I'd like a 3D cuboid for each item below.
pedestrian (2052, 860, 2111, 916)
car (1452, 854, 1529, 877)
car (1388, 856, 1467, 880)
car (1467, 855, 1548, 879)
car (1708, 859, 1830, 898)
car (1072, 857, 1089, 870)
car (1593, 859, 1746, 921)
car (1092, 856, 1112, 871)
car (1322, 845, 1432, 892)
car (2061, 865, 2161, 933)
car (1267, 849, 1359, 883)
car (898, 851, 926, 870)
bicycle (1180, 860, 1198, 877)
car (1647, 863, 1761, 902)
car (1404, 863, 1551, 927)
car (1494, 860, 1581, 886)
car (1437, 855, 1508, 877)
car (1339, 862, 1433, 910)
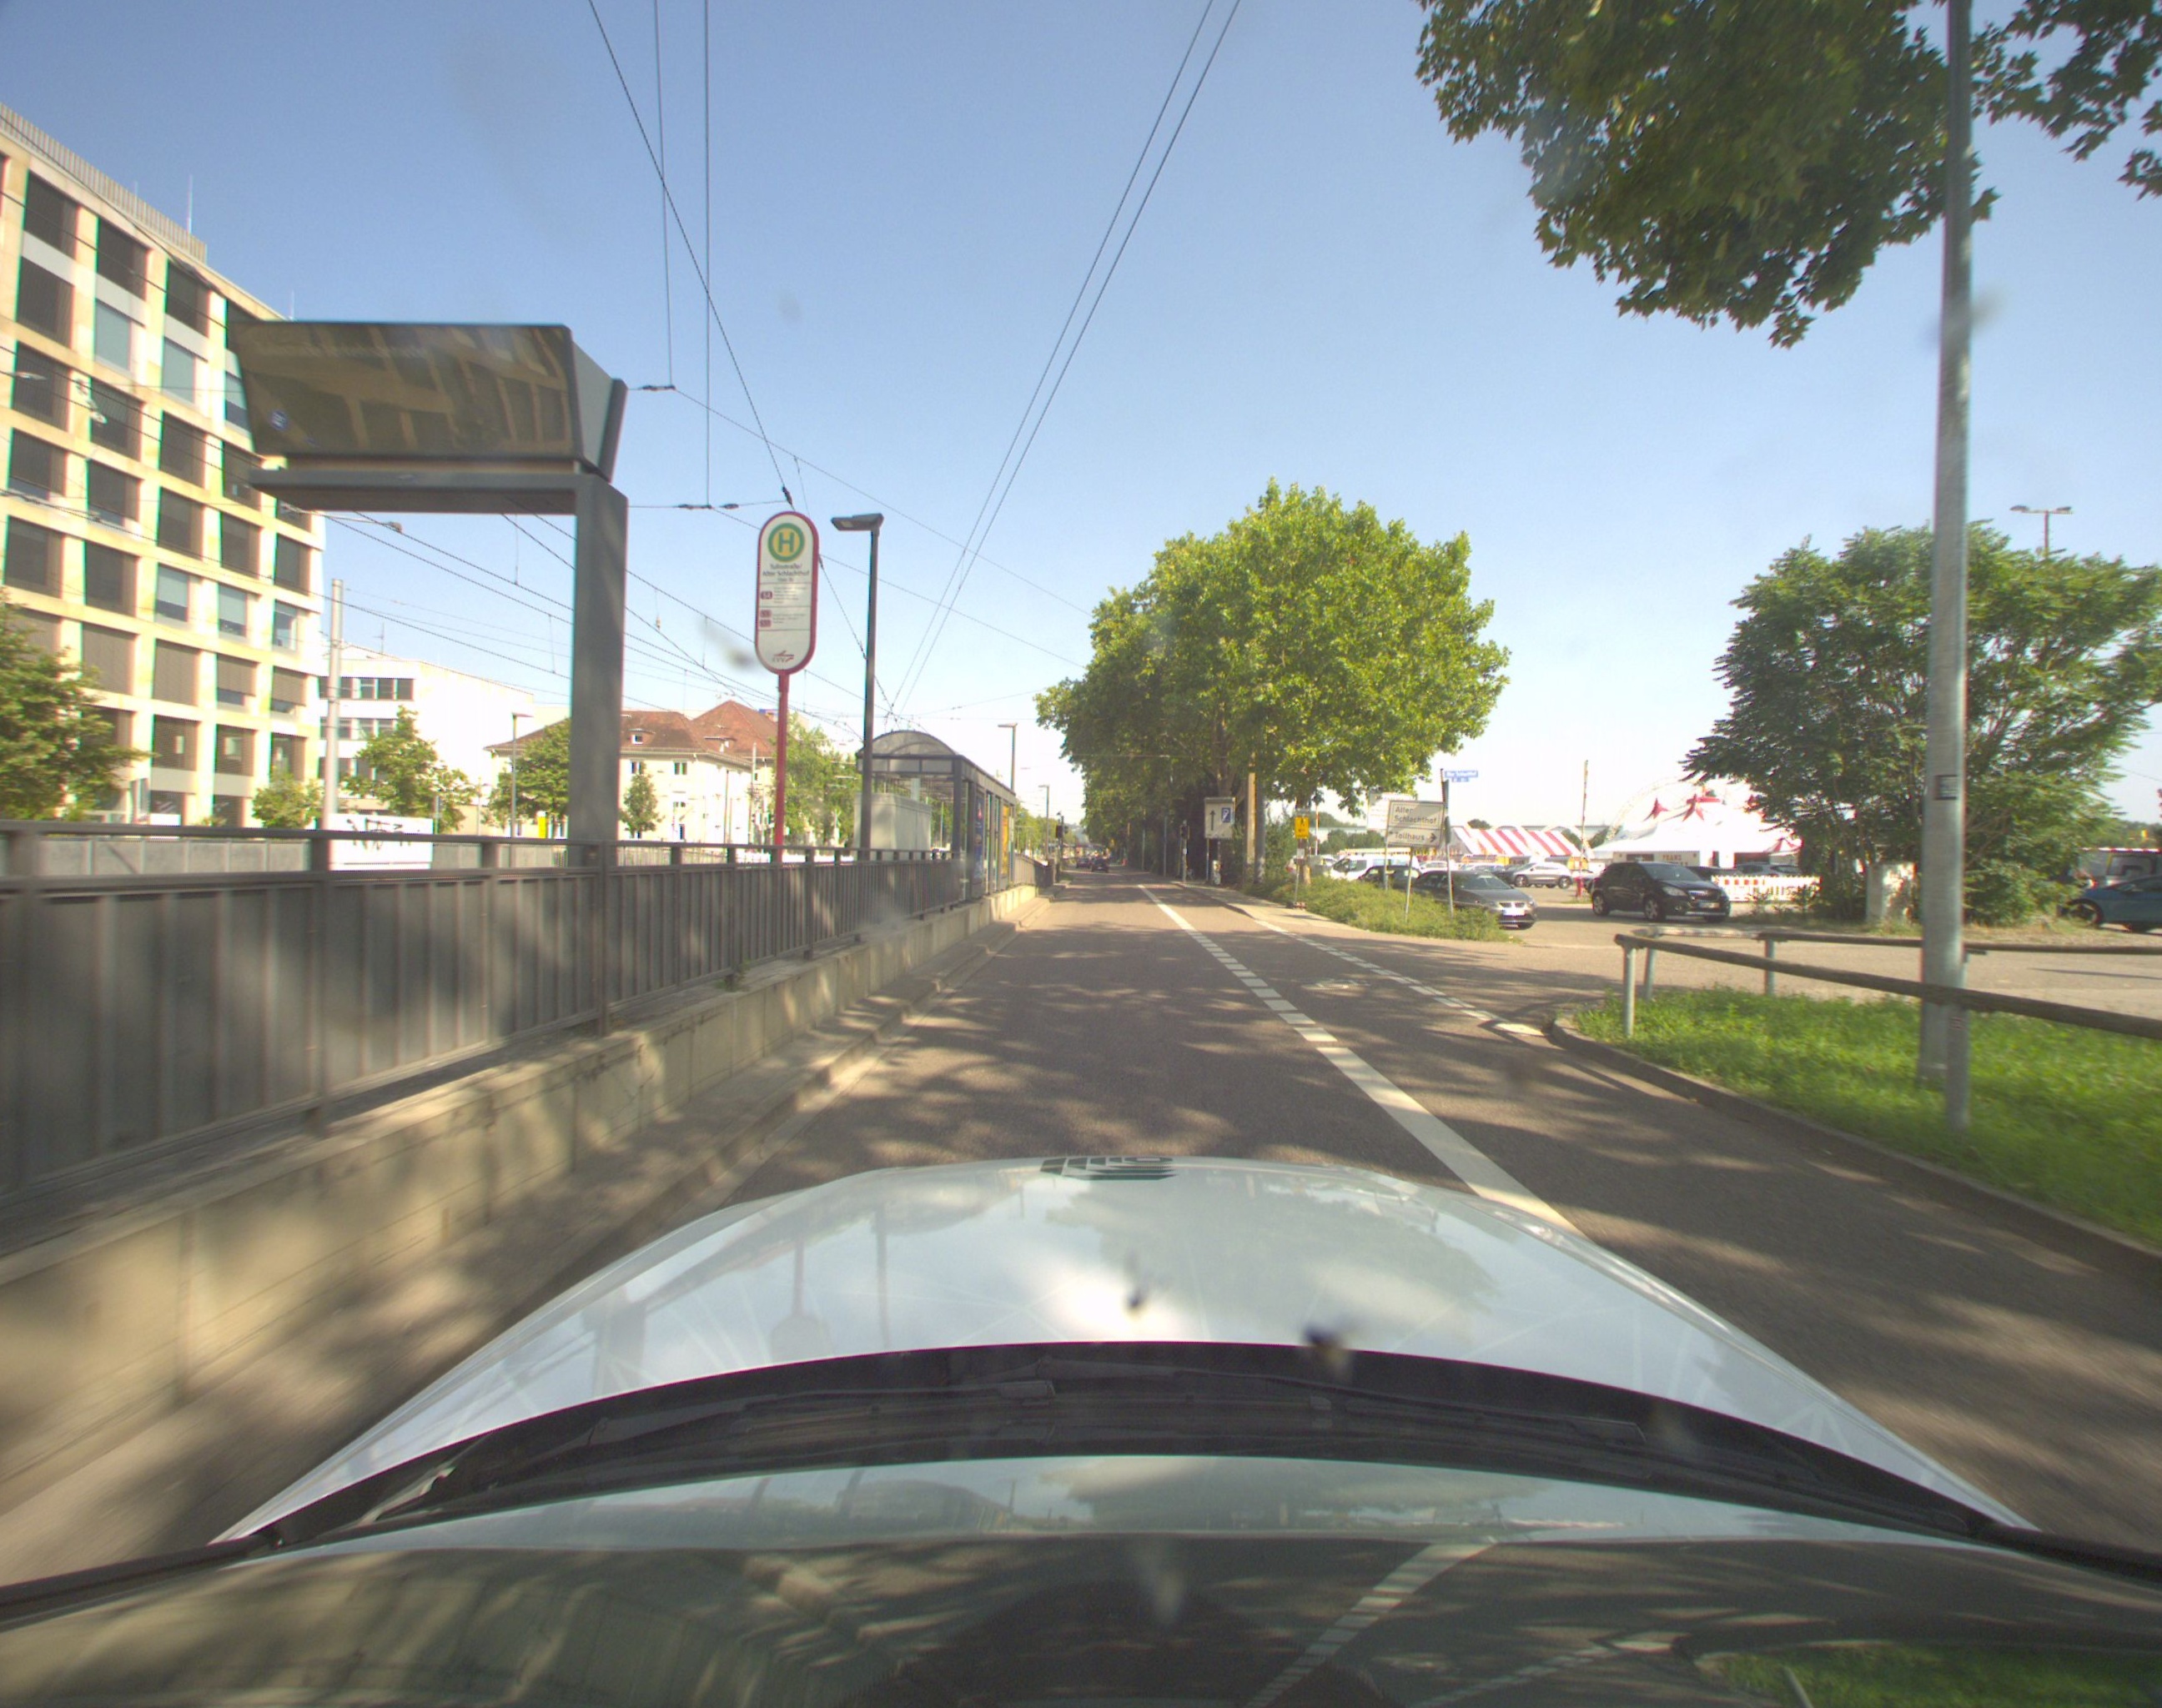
[{"bbox_3d":[29.946,1.012,24.392,0.920,1.643,0.706,-1,-2,34],"label":"pedestrian"},{"bbox_3d":[28.258,0.764,56.287,4.331,1.464,1.946,2,0,-1],"label":"car"},{"bbox_3d":[22.675,0.904,53.336,4.331,1.464,1.946,2,0,-1],"label":"car"},{"bbox_3d":[28.278,0.871,54.077,4.331,1.464,1.946,2,0,-1],"label":"car"},{"bbox_3d":[29.441,1.000,35.045,1.807,1.492,4.117,1,0,0],"label":"car"},{"bbox_3d":[-0.015,1.165,100.891,1.967,1.537,3.999,-2,0,0],"label":"car"},{"bbox_3d":[16.245,0.930,22.738,1.602,1.575,3.797,0,0,1],"label":"car"},{"bbox_3d":[2.113,0.948,83.290,1.901,1.537,4.000,-1,0,0],"label":"car"},{"bbox_3d":[12.580,0.593,34.838,4.085,1.918,1.849,-1,0,3],"label":"car"},{"bbox_3d":[26.391,1.112,19.190,1.701,1.575,3.951,2,0,-5],"label":"car"},{"bbox_3d":[11.338,0.585,40.049,3.974,1.587,2.000,1,0,0],"label":"car"},{"bbox_3d":[-16.935,0.667,81.740,1.987,1.838,4.000,0,0,0],"label":"car"},{"bbox_3d":[6.660,0.879,50.331,0.609,1.022,2.400,1,0,-3],"label":"bicycle"},{"bbox_3d":[26.736,1.194,35.136,1.807,1.492,4.117,1,0,0],"label":"car"},{"bbox_3d":[10.156,0.984,21.279,1.722,1.448,4.551,0,0,1],"label":"car"},{"bbox_3d":[28.715,1.194,51.346,4.371,1.464,1.950,1,0,4],"label":"car"},{"bbox_3d":[28.713,0.837,59.816,4.331,1.464,1.946,2,0,-1],"label":"car"},{"bbox_3d":[10.149,1.008,27.416,1.722,1.448,4.118,0,0,1],"label":"car"}]
